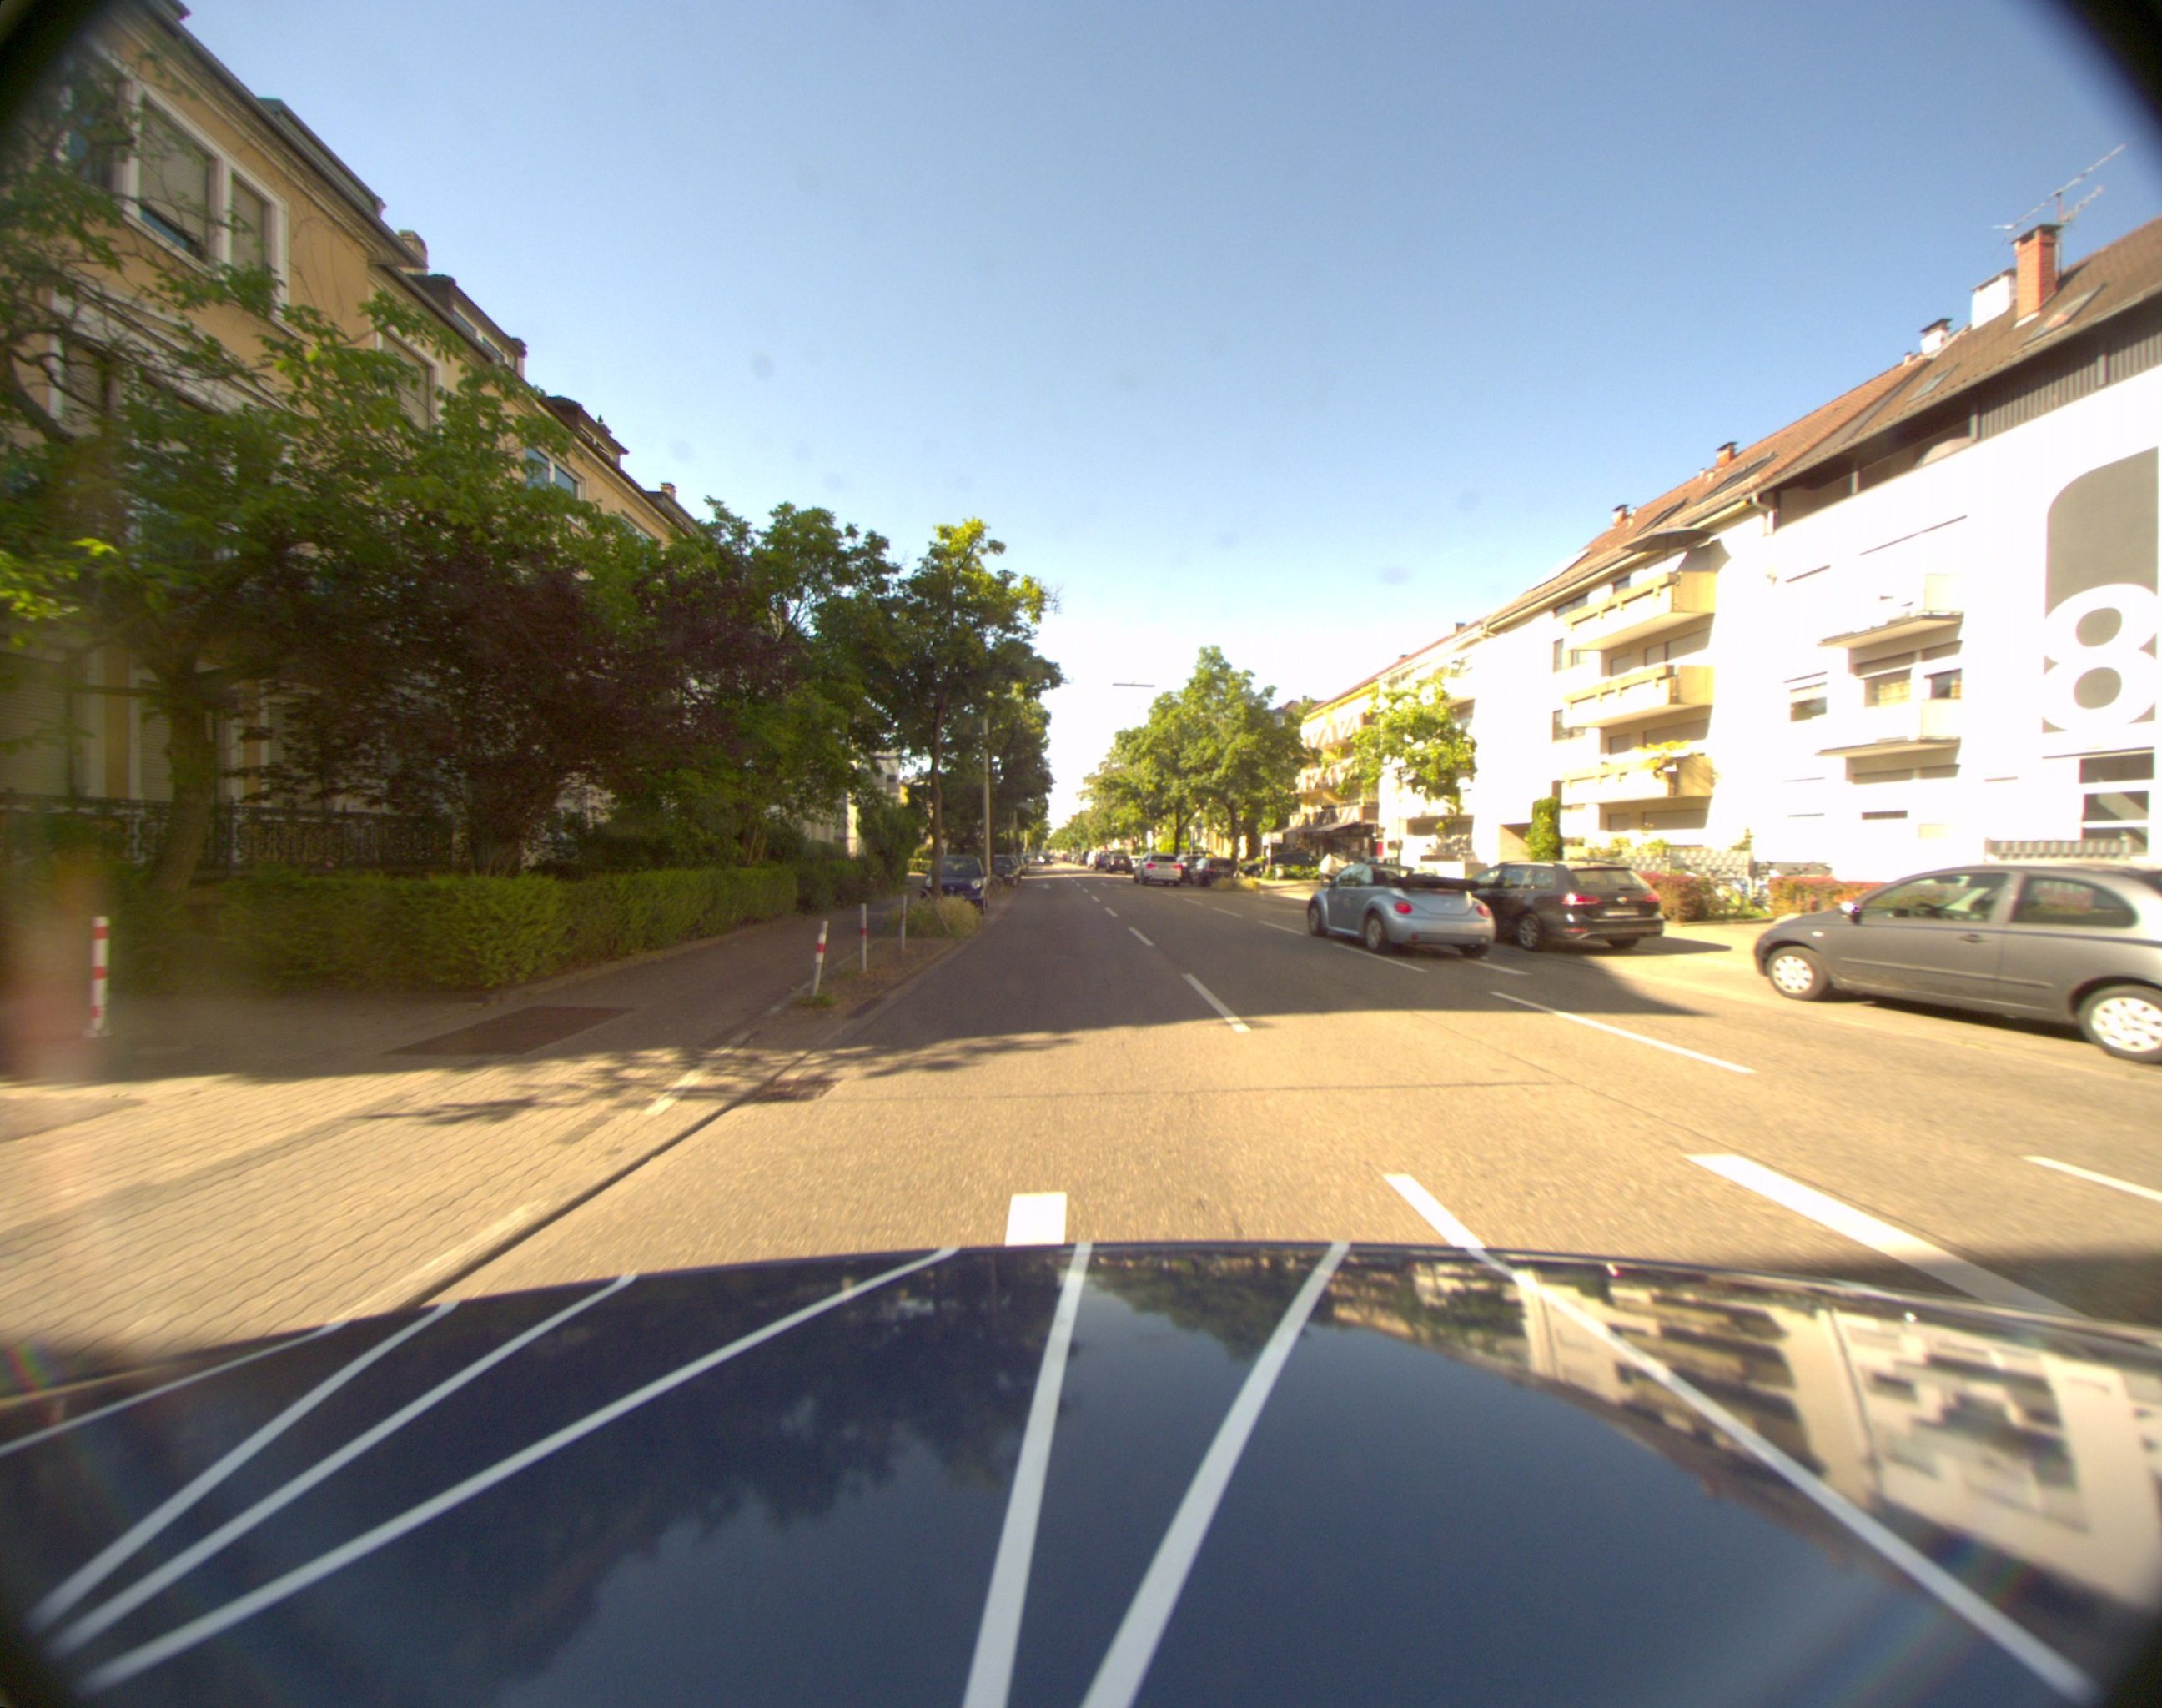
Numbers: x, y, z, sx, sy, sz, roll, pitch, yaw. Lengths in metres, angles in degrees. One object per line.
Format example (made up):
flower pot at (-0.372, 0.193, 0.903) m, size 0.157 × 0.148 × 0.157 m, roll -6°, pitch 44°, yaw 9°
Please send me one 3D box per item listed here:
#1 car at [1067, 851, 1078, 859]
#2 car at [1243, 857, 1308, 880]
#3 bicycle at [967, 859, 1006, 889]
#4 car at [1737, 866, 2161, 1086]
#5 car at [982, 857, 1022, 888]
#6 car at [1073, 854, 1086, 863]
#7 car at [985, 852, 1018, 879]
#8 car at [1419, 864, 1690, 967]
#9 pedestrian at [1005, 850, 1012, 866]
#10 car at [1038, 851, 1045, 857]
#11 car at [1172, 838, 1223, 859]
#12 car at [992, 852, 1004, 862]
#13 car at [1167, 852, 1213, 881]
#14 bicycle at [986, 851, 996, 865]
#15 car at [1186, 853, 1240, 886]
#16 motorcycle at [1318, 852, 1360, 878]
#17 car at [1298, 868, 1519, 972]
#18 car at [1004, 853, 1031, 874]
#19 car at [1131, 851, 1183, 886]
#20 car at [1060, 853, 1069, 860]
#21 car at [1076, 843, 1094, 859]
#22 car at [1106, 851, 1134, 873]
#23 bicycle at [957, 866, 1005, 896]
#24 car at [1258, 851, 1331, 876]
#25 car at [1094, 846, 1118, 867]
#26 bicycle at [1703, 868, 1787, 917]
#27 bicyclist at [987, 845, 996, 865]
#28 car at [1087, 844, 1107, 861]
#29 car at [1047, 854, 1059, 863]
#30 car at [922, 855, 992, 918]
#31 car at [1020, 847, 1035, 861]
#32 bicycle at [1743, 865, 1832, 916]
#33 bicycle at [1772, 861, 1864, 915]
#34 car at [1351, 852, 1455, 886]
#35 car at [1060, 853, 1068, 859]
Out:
car at (-1.502, 0.160, 137.486) m, size 1.586 × 1.443 × 3.743 m, roll 1°, pitch 0°, yaw -5°
car at (12.557, 0.918, 49.030) m, size 3.992 × 1.447 × 1.735 m, roll -1°, pitch 0°, yaw 15°
bicycle at (-4.092, 0.855, 32.913) m, size 1.671 × 1.230 × 0.470 m, roll 0°, pitch 1°, yaw -41°
car at (8.535, 0.914, 6.942) m, size 1.680 × 1.516 × 3.656 m, roll -2°, pitch 0°, yaw -6°
car at (-3.743, 0.839, 36.616) m, size 1.616 × 1.375 × 3.975 m, roll 1°, pitch 0°, yaw -2°
car at (-0.231, 0.699, 117.960) m, size 1.738 × 1.404 × 4.190 m, roll 2°, pitch 0°, yaw -3°
car at (-4.495, 0.624, 43.496) m, size 1.719 × 1.480 × 4.232 m, roll 1°, pitch 0°, yaw -4°
car at (8.022, 0.931, 13.494) m, size 1.790 × 1.484 × 4.491 m, roll 0°, pitch 0°, yaw -4°
pedestrian at (-7.454, 0.425, 78.448) m, size 0.671 × 1.672 × 0.775 m, roll 1°, pitch 1°, yaw -3°
car at (-10.519, -0.021, 201.043) m, size 1.823 × 1.541 × 4.303 m, roll 0°, pitch 0°, yaw -2°
car at (10.877, -0.490, 70.941) m, size 4.334 × 1.868 × 1.875 m, roll -1°, pitch 0°, yaw -26°
car at (-11.921, 0.459, 109.354) m, size 1.536 × 1.348 × 3.716 m, roll 3°, pitch 0°, yaw -3°
car at (6.325, 0.670, 44.486) m, size 1.727 × 1.587 × 4.134 m, roll -1°, pitch 0°, yaw -5°
bicycle at (-7.894, 0.325, 66.930) m, size 0.700 × 1.239 × 1.821 m, roll 1°, pitch 0°, yaw -3°
car at (6.679, 0.735, 38.890) m, size 1.727 × 1.527 × 4.678 m, roll -1°, pitch 0°, yaw -3°
motorcycle at (14.705, 0.622, 43.361) m, size 2.155 × 1.477 × 0.781 m, roll -1°, pitch 0°, yaw 6°
car at (5.177, 0.973, 12.650) m, size 1.742 × 1.373 × 3.935 m, roll 2°, pitch 0°, yaw -4°
car at (-4.587, 0.690, 55.170) m, size 1.696 × 1.419 × 4.146 m, roll 1°, pitch 0°, yaw -2°
car at (3.819, 0.685, 38.848) m, size 1.811 × 1.638 × 4.671 m, roll 3°, pitch 0°, yaw -4°
car at (-3.475, 0.591, 160.880) m, size 1.586 × 1.443 × 3.743 m, roll 1°, pitch 0°, yaw -5°
car at (0.477, -0.420, 99.844) m, size 2.022 × 1.940 × 5.176 m, roll 2°, pitch 0°, yaw -4°
car at (3.021, 0.579, 59.676) m, size 1.724 × 1.557 × 4.341 m, roll 3°, pitch 0°, yaw -3°
bicycle at (-3.845, 1.030, 29.266) m, size 1.743 × 1.016 × 0.524 m, roll 2°, pitch 3°, yaw 5°
car at (12.895, 0.593, 46.123) m, size 3.995 × 1.452 × 1.734 m, roll -1°, pitch 0°, yaw 6°
car at (2.369, 0.204, 73.067) m, size 1.808 × 1.899 × 4.710 m, roll 3°, pitch 0°, yaw -3°
bicycle at (14.411, 0.819, 16.531) m, size 0.400 × 0.977 × 1.548 m, roll 1°, pitch 0°, yaw -3°
bicyclist at (-7.892, 0.097, 66.997) m, size 0.726 × 1.783 × 1.015 m, roll 1°, pitch 1°, yaw -3°
car at (1.798, -0.196, 85.176) m, size 1.821 × 1.732 × 4.491 m, roll 2°, pitch 0°, yaw -4°
car at (-4.270, 0.708, 115.743) m, size 1.654 × 1.348 × 4.303 m, roll 0°, pitch 0°, yaw -2°
car at (-3.335, 0.833, 21.001) m, size 1.564 × 1.506 × 3.653 m, roll 2°, pitch 0°, yaw -5°
car at (-6.916, -0.020, 97.980) m, size 1.774 × 1.649 × 4.339 m, roll 1°, pitch 0°, yaw -4°
bicycle at (15.320, 0.765, 16.528) m, size 0.421 × 1.047 × 1.548 m, roll 1°, pitch 0°, yaw -3°
bicycle at (16.070, 0.723, 16.614) m, size 0.449 × 1.105 × 1.548 m, roll 1°, pitch 0°, yaw -3°
car at (14.915, 0.680, 35.313) m, size 3.998 × 1.478 × 1.880 m, roll -1°, pitch 0°, yaw -4°
car at (-3.972, 0.410, 178.719) m, size 1.586 × 1.443 × 3.743 m, roll 1°, pitch 0°, yaw -5°
